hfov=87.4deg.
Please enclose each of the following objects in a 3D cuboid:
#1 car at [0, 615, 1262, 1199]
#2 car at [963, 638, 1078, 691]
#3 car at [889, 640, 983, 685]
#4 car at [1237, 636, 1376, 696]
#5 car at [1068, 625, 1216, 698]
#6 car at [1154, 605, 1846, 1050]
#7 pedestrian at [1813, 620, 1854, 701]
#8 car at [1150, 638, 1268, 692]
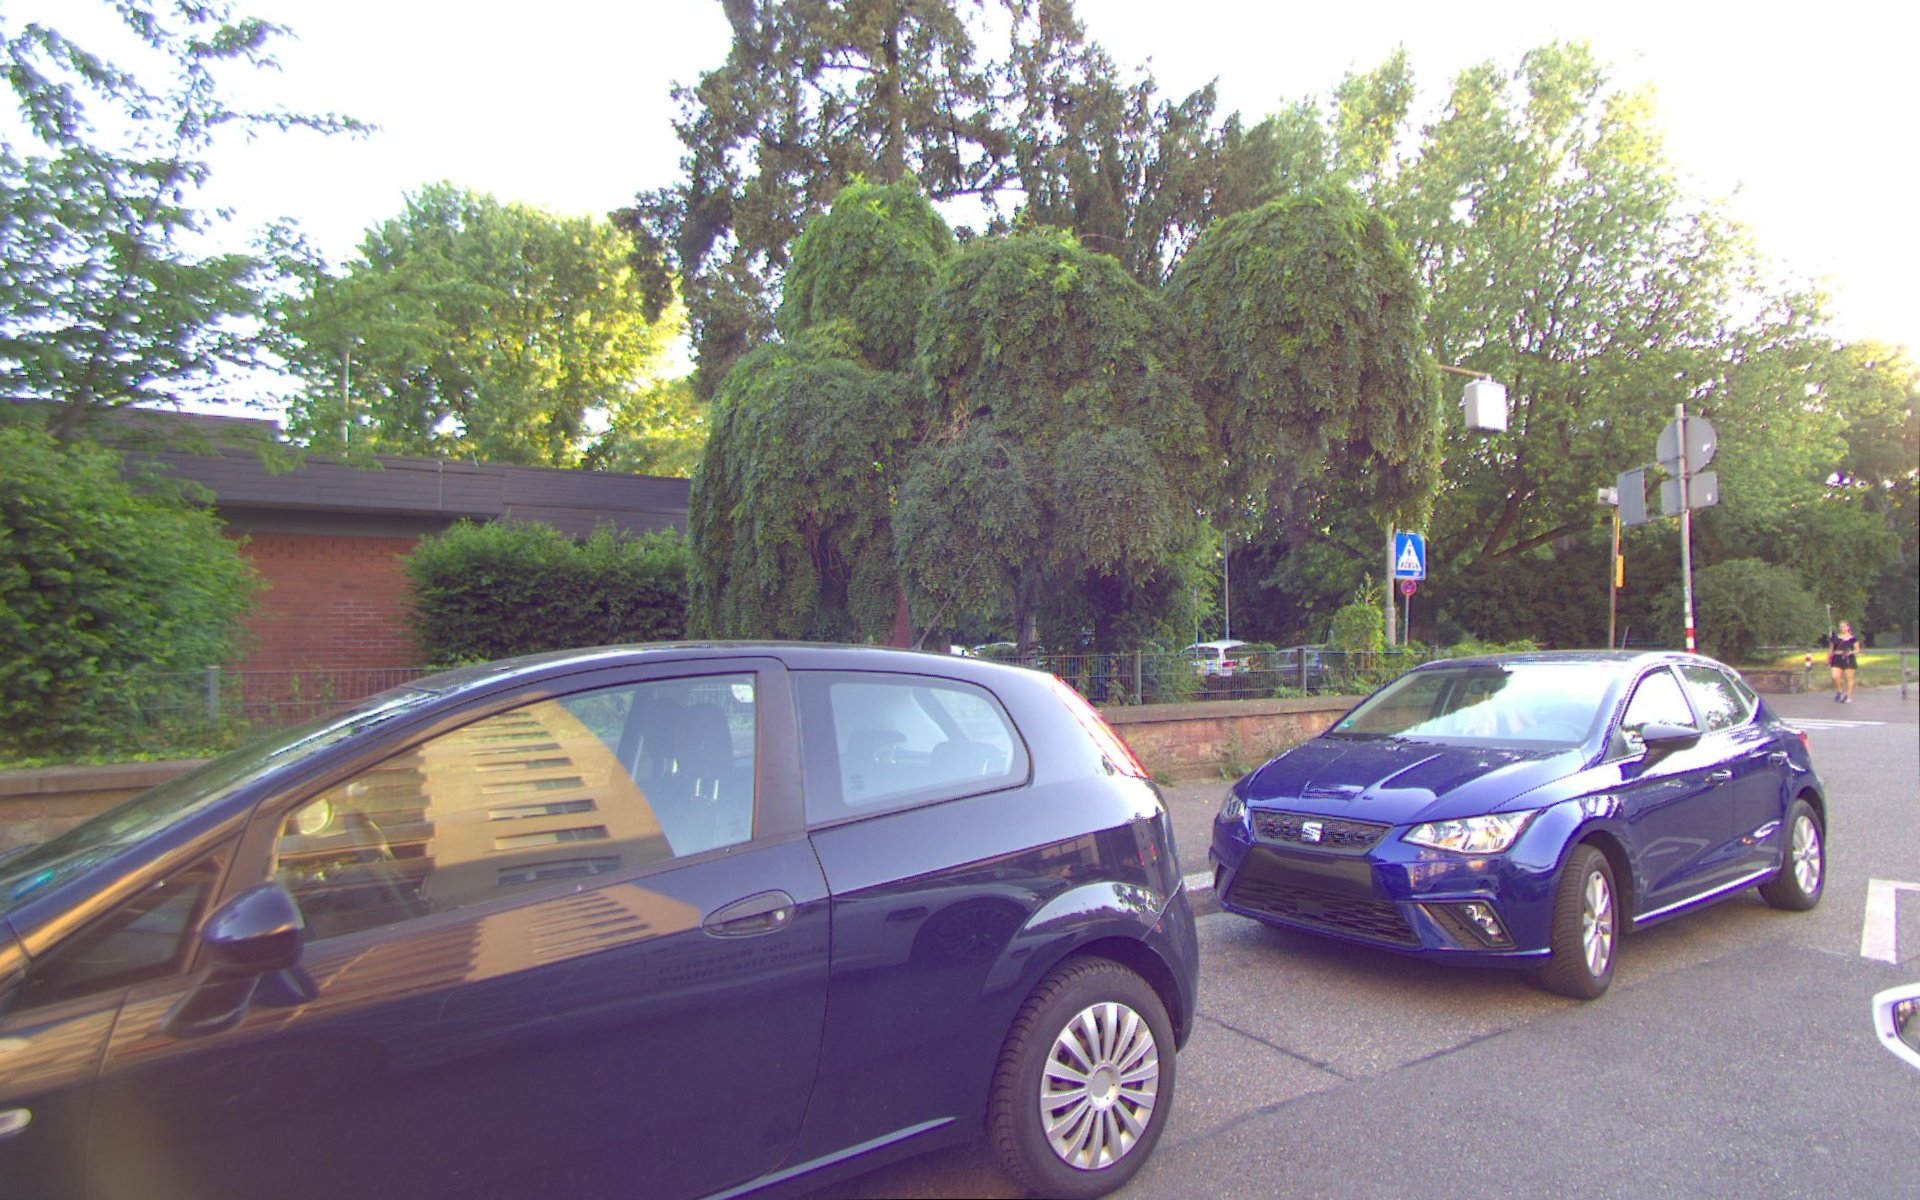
[{"bbox_3d":[-1.118,0.881,2.643,3.659,1.587,1.723,1,-4,-34],"label":"car"},{"bbox_3d":[1.900,2.121,32.802,1.801,1.564,4.212,4,-5,-28],"label":"car"},{"bbox_3d":[-0.968,2.380,38.140,1.801,1.564,4.212,4,-5,-28],"label":"car"},{"bbox_3d":[10.537,1.990,30.811,1.798,1.511,3.843,-6,0,-24],"label":"car"},{"bbox_3d":[4.940,1.724,27.872,1.801,1.821,4.212,4,-5,-28],"label":"car"},{"bbox_3d":[3.019,0.894,5.413,3.752,1.587,1.723,1,-4,-35],"label":"car"},{"bbox_3d":[18.419,1.255,21.188,0.639,1.671,0.670,0,0,42],"label":"pedestrian"},{"bbox_3d":[8.657,2.272,35.184,1.800,1.583,3.856,-6,0,-27],"label":"car"}]
